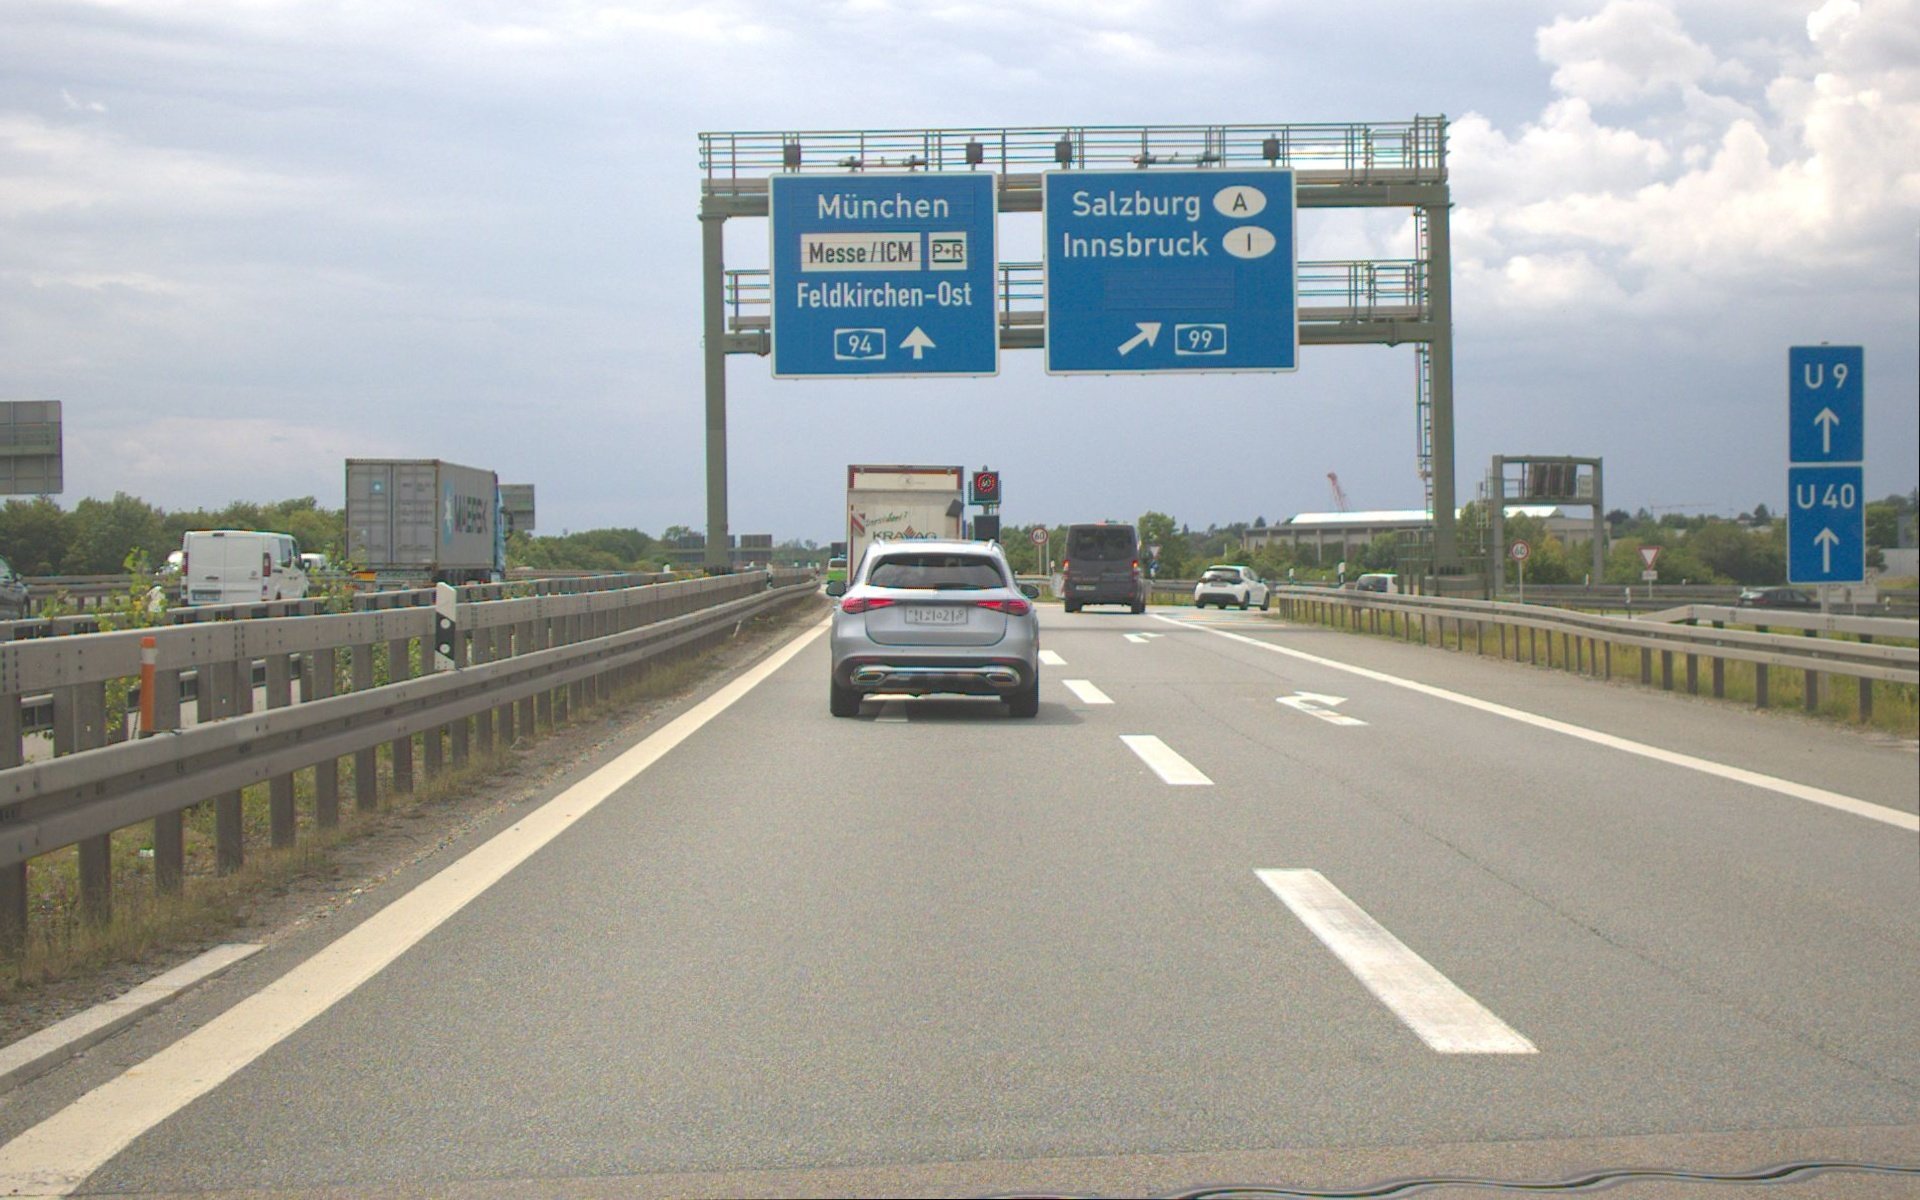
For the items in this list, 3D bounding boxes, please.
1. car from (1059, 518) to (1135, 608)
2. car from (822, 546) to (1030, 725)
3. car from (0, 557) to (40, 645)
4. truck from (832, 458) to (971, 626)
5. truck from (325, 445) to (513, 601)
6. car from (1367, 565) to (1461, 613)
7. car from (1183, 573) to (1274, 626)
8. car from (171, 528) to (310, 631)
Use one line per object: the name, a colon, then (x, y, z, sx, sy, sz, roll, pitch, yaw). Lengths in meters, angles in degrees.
car: (3.614, -1.006, 90.030, 1.906, 2.254, 4.649, 1, 2, 3)
car: (-0.313, 0.285, 32.353, 1.819, 1.509, 4.000, 1, 2, 0)
car: (-18.480, 0.019, 63.354, 1.881, 1.541, 4.615, 1, 2, -1)
truck: (-1.139, -1.107, 68.978, 2.569, 3.115, 8.634, 1, 0, -1)
truck: (-15.117, -2.229, 97.407, 3.183, 4.005, 16.077, 1, 2, -2)
car: (17.355, -0.435, 131.333, 1.997, 1.703, 3.992, 2, 2, 34)
car: (9.202, -0.040, 117.512, 1.996, 1.703, 3.996, 1, 2, 21)
car: (-14.876, -0.452, 71.287, 1.993, 2.007, 4.375, 1, 2, 0)
